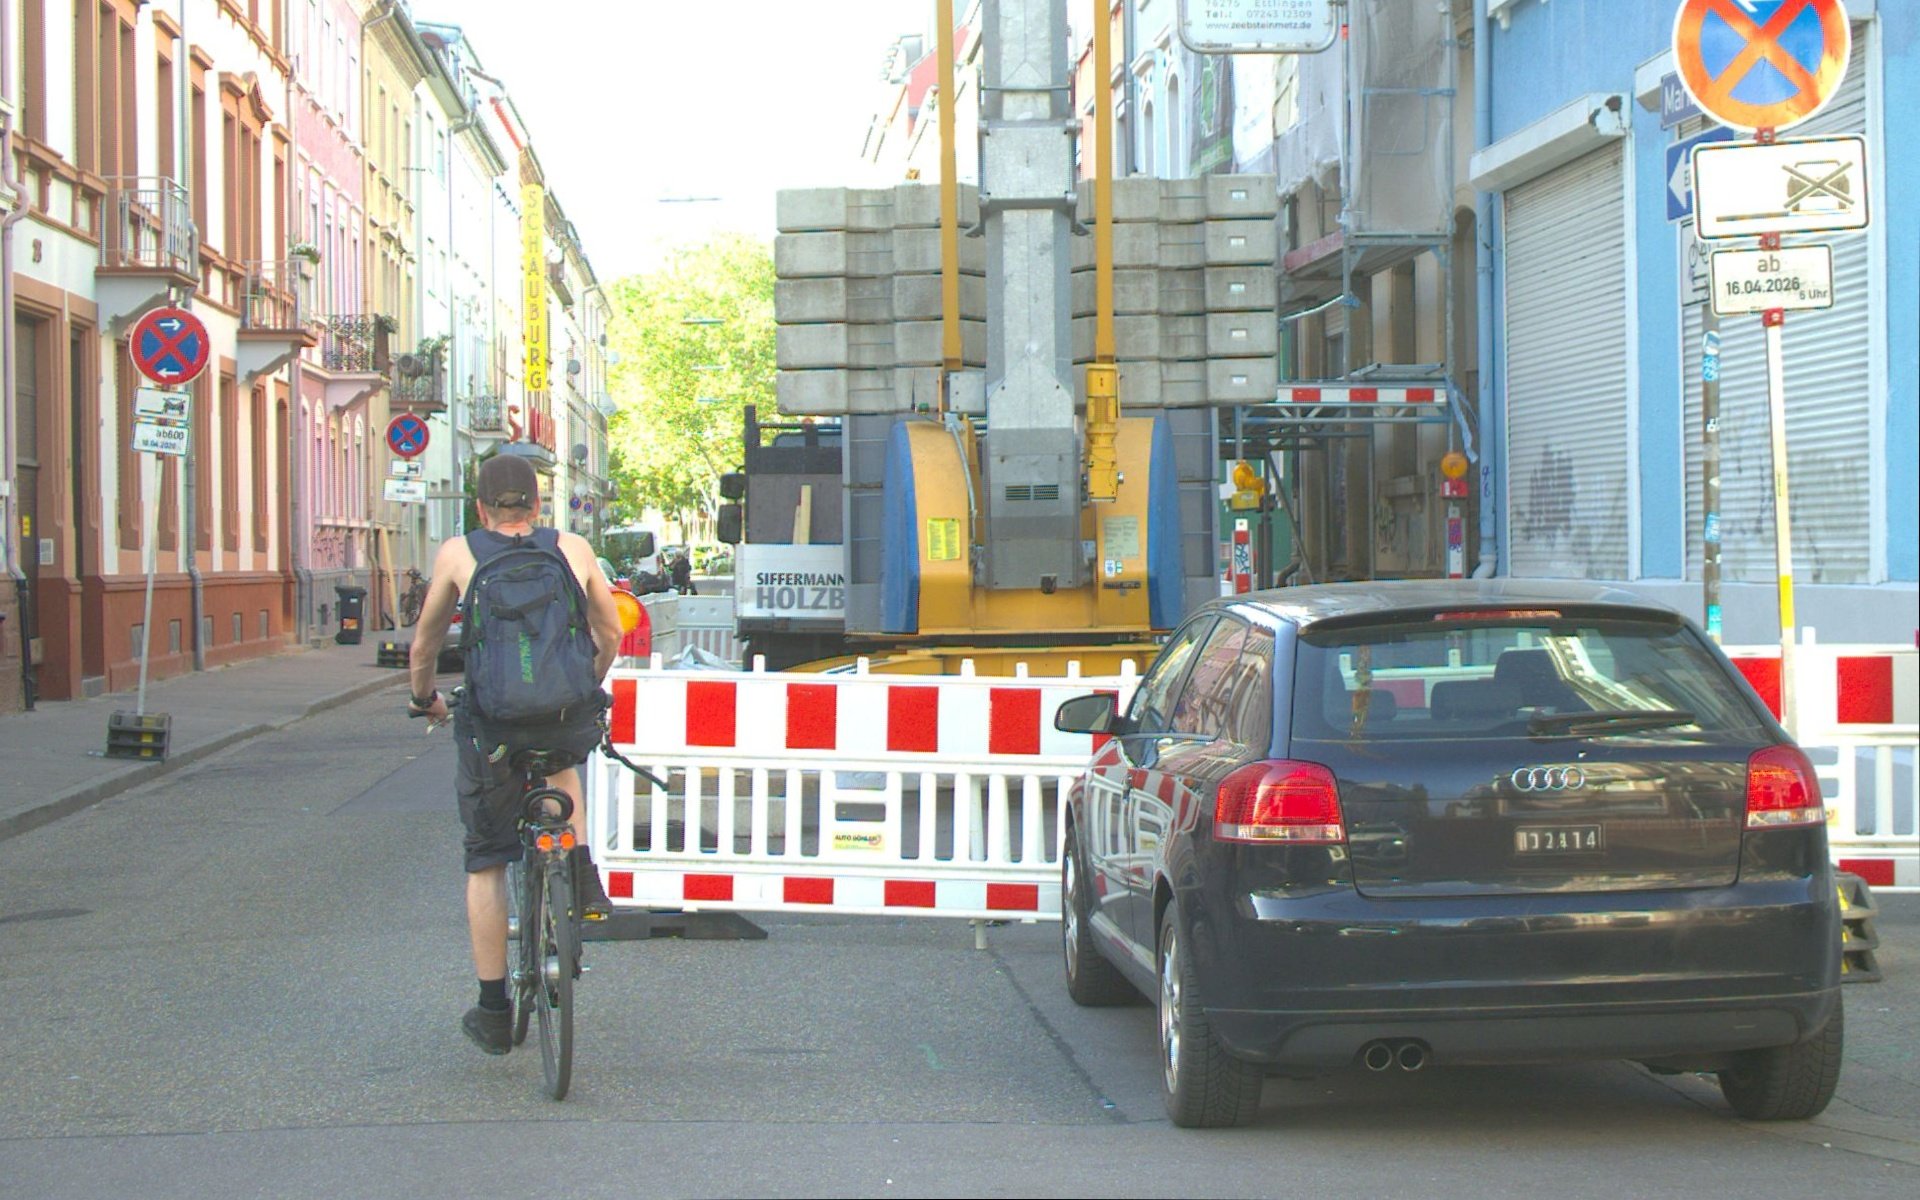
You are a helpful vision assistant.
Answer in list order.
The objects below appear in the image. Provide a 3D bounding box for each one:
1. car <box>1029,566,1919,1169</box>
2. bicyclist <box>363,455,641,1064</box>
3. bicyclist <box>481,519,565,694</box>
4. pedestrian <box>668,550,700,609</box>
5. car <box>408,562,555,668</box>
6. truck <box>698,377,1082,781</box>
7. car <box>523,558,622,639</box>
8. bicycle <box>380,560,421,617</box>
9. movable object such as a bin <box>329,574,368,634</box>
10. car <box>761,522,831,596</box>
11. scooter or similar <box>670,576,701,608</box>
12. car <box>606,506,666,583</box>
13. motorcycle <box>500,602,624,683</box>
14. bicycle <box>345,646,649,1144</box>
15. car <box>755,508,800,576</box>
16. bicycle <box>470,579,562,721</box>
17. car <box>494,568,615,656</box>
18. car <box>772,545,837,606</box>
[{"bbox_3d":[1.294,0.629,10.302,1.771,1.429,4.034,1,1,-4],"label":"car"},{"bbox_3d":[-1.276,0.421,9.753,0.702,1.627,1.090,0,0,-4],"label":"bicyclist"},{"bbox_3d":[-4.082,0.048,32.179,0.702,1.599,0.813,-1,2,-4],"label":"bicyclist"},{"bbox_3d":[-7.523,-0.564,93.691,0.770,1.573,0.900,1,0,-8],"label":"pedestrian"},{"bbox_3d":[-6.795,0.190,49.170,1.710,1.378,4.506,-2,1,-4],"label":"car"},{"bbox_3d":[-0.716,-0.173,27.966,2.661,2.804,7.394,1,0,-4],"label":"truck"},{"bbox_3d":[-7.481,-0.046,66.649,1.672,1.437,4.166,-2,1,-4],"label":"car"},{"bbox_3d":[-11.045,-0.230,67.923,0.592,1.085,2.079,1,0,-4],"label":"bicycle"},{"bbox_3d":[-9.733,0.062,54.739,0.543,0.941,0.487,1,0,-3],"label":"movable object such as a bin"},{"bbox_3d":[-6.006,-1.485,125.391,2.307,2.529,6.771,-2,1,-4],"label":"car"},{"bbox_3d":[-7.447,-0.218,93.200,0.770,0.870,0.771,1,0,-8],"label":"scooter or similar"},{"bbox_3d":[-10.748,-1.836,113.810,1.909,2.488,4.166,-1,1,-6],"label":"car"},{"bbox_3d":[-7.371,0.774,63.663,2.146,1.354,0.540,-4,2,-21],"label":"motorcycle"},{"bbox_3d":[-1.276,0.760,9.862,0.702,1.204,2.342,0,0,-4],"label":"bicycle"},{"bbox_3d":[-10.550,-3.310,198.151,2.307,3.755,6.771,-2,1,-4],"label":"car"},{"bbox_3d":[-4.141,0.444,32.189,0.702,1.203,2.343,-1,2,-4],"label":"bicycle"},{"bbox_3d":[-7.023,0.185,59.939,1.710,1.378,4.356,0,2,-2],"label":"car"},{"bbox_3d":[-4.227,-0.673,93.032,1.620,1.545,4.001,-2,1,-4],"label":"car"}]
